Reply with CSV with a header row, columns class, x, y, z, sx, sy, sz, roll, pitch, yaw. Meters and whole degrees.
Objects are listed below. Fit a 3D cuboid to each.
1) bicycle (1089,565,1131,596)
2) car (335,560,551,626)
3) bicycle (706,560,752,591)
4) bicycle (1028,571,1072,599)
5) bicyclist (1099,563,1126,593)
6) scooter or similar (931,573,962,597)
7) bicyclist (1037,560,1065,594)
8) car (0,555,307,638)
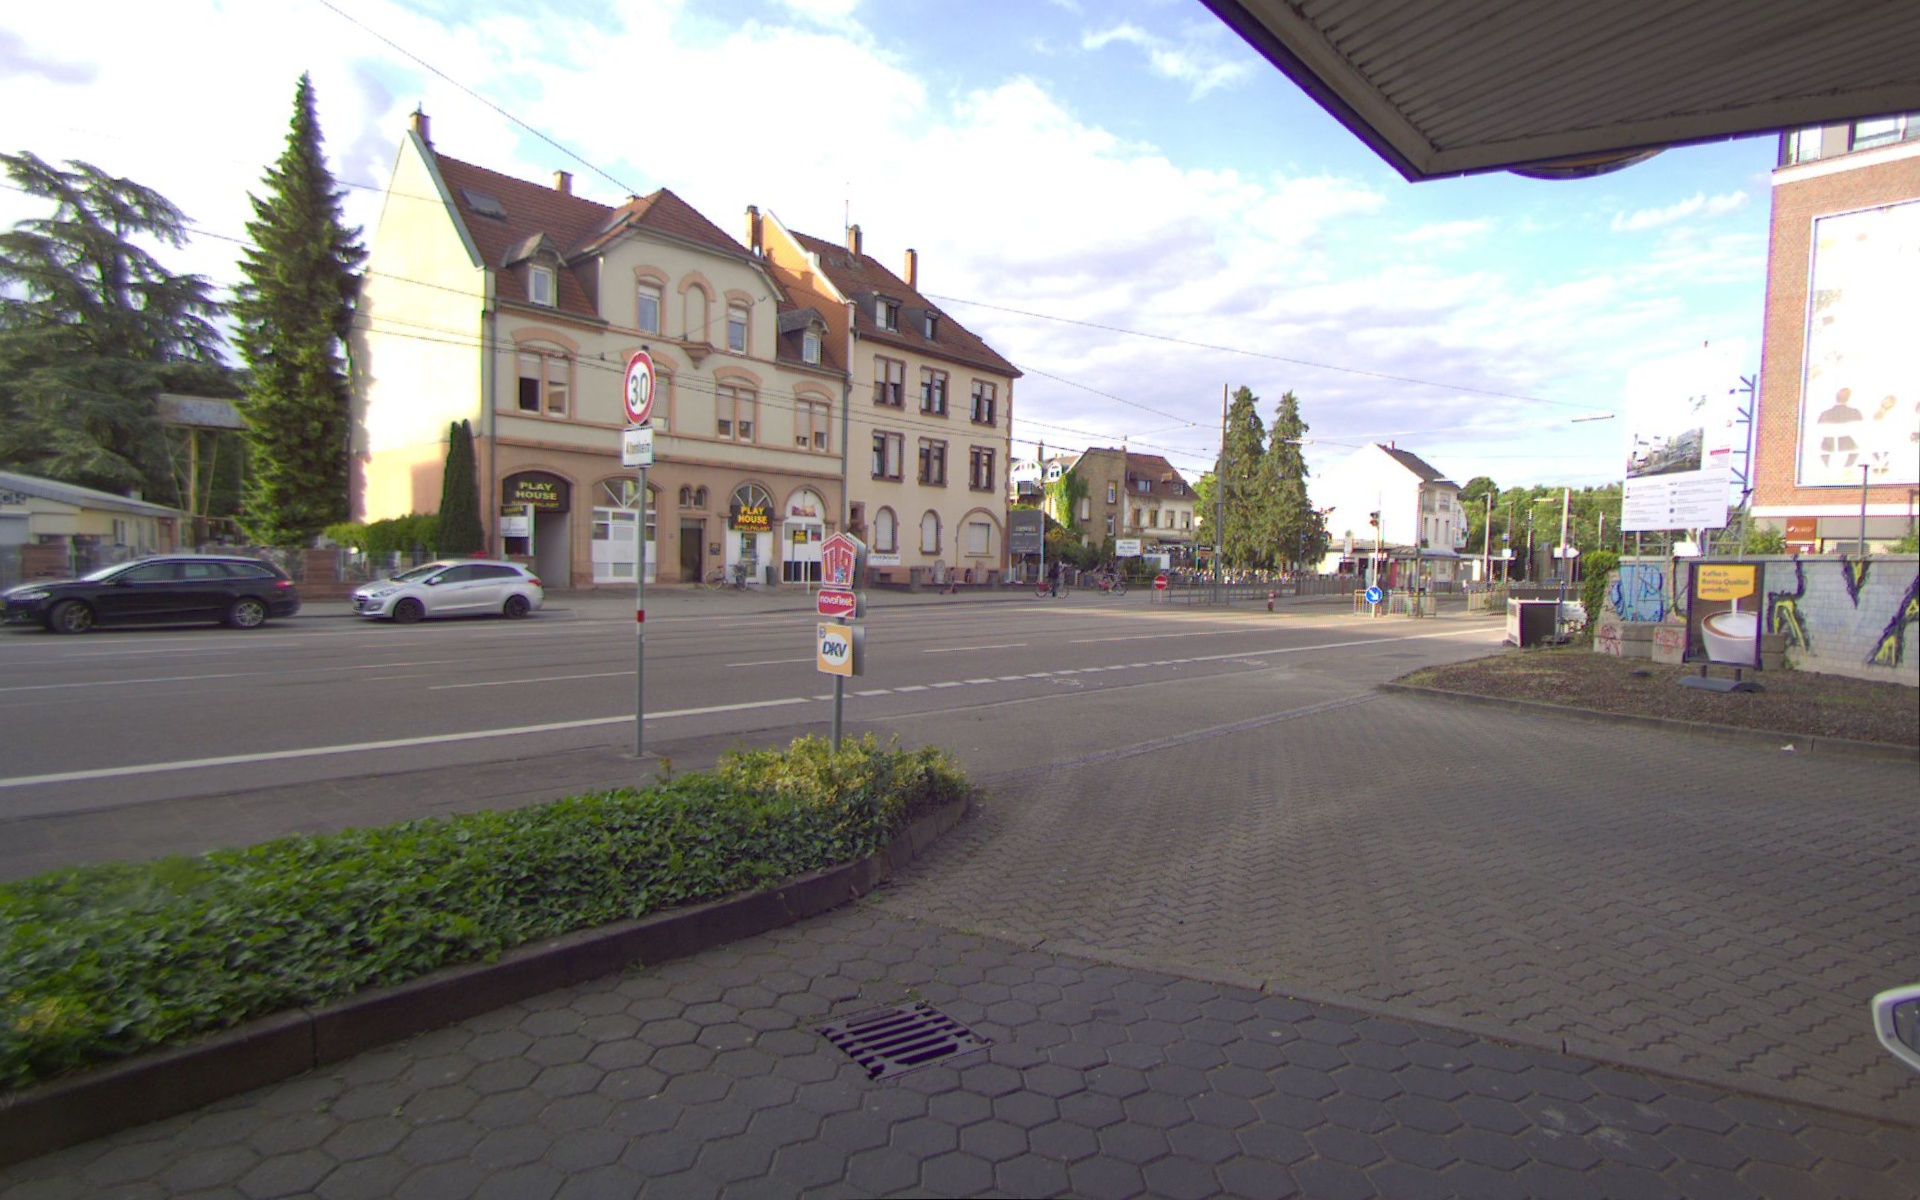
class,x,y,z,sx,sy,sz,roll,pitch,yaw
bicycle,7.908,-1.050,53.051,1.962,1.512,0.785,2,4,-21
car,-12.996,-0.242,25.476,1.970,1.495,4.467,3,3,40
bicycle,-9.139,-0.953,39.721,0.508,1.189,1.809,4,2,40
bicycle,4.352,-0.715,48.587,1.884,1.219,0.839,1,6,-31
bicyclist,8.040,-1.181,53.091,1.079,1.512,0.785,2,4,-20
scooter or similar,-0.593,-0.690,45.148,0.488,1.015,1.592,5,5,39
bicyclist,4.381,-1.106,48.542,0.953,1.579,0.839,1,6,-31
car,-16.565,-0.143,20.744,1.970,1.516,4.801,3,3,40
